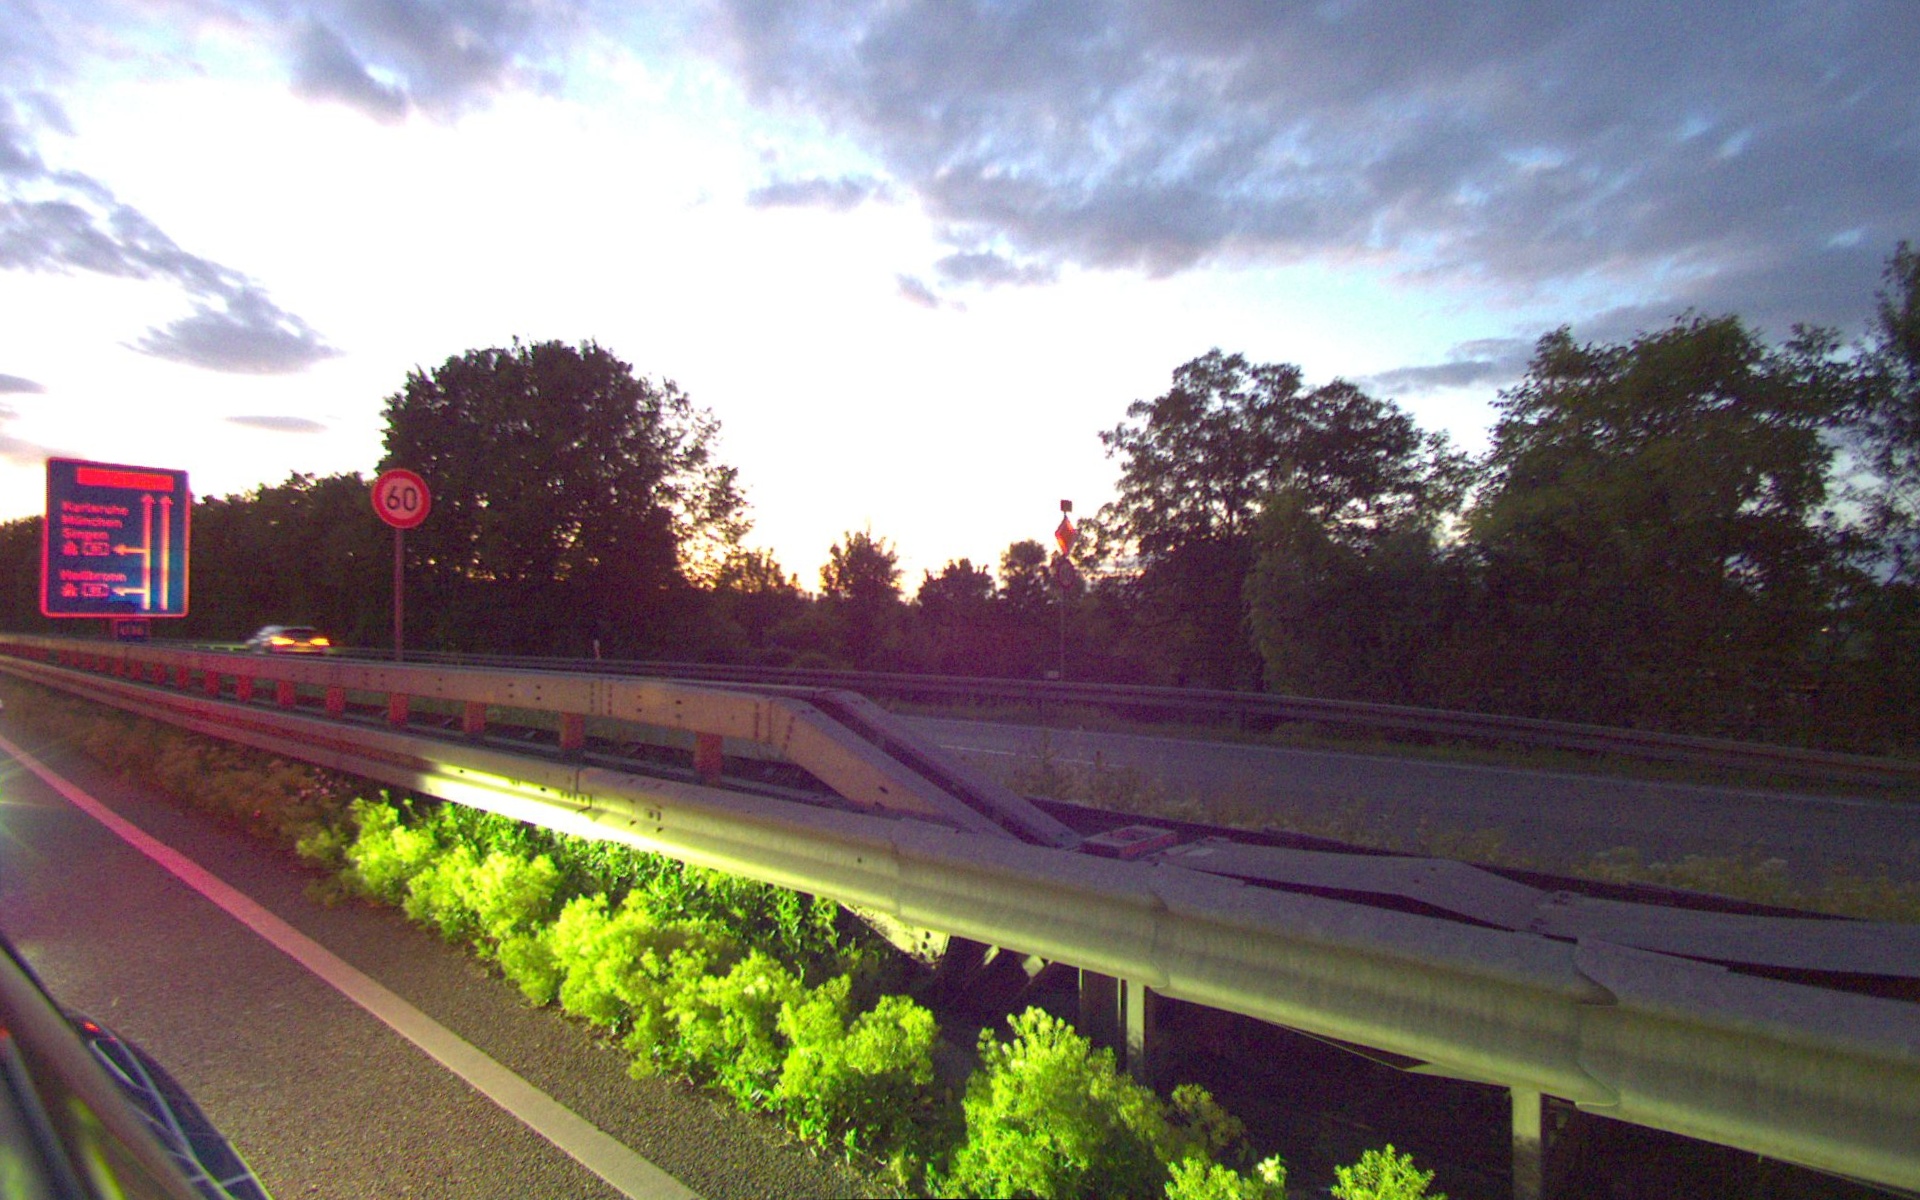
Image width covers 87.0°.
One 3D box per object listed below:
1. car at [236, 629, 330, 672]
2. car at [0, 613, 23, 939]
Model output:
[{"bbox_3d":[-26.028,1.895,38.861,4.295,1.530,1.973,-2,-2,41],"label":"car"},{"bbox_3d":[-6.662,0.849,5.439,4.511,1.492,1.877,-1,-1,40],"label":"car"}]
